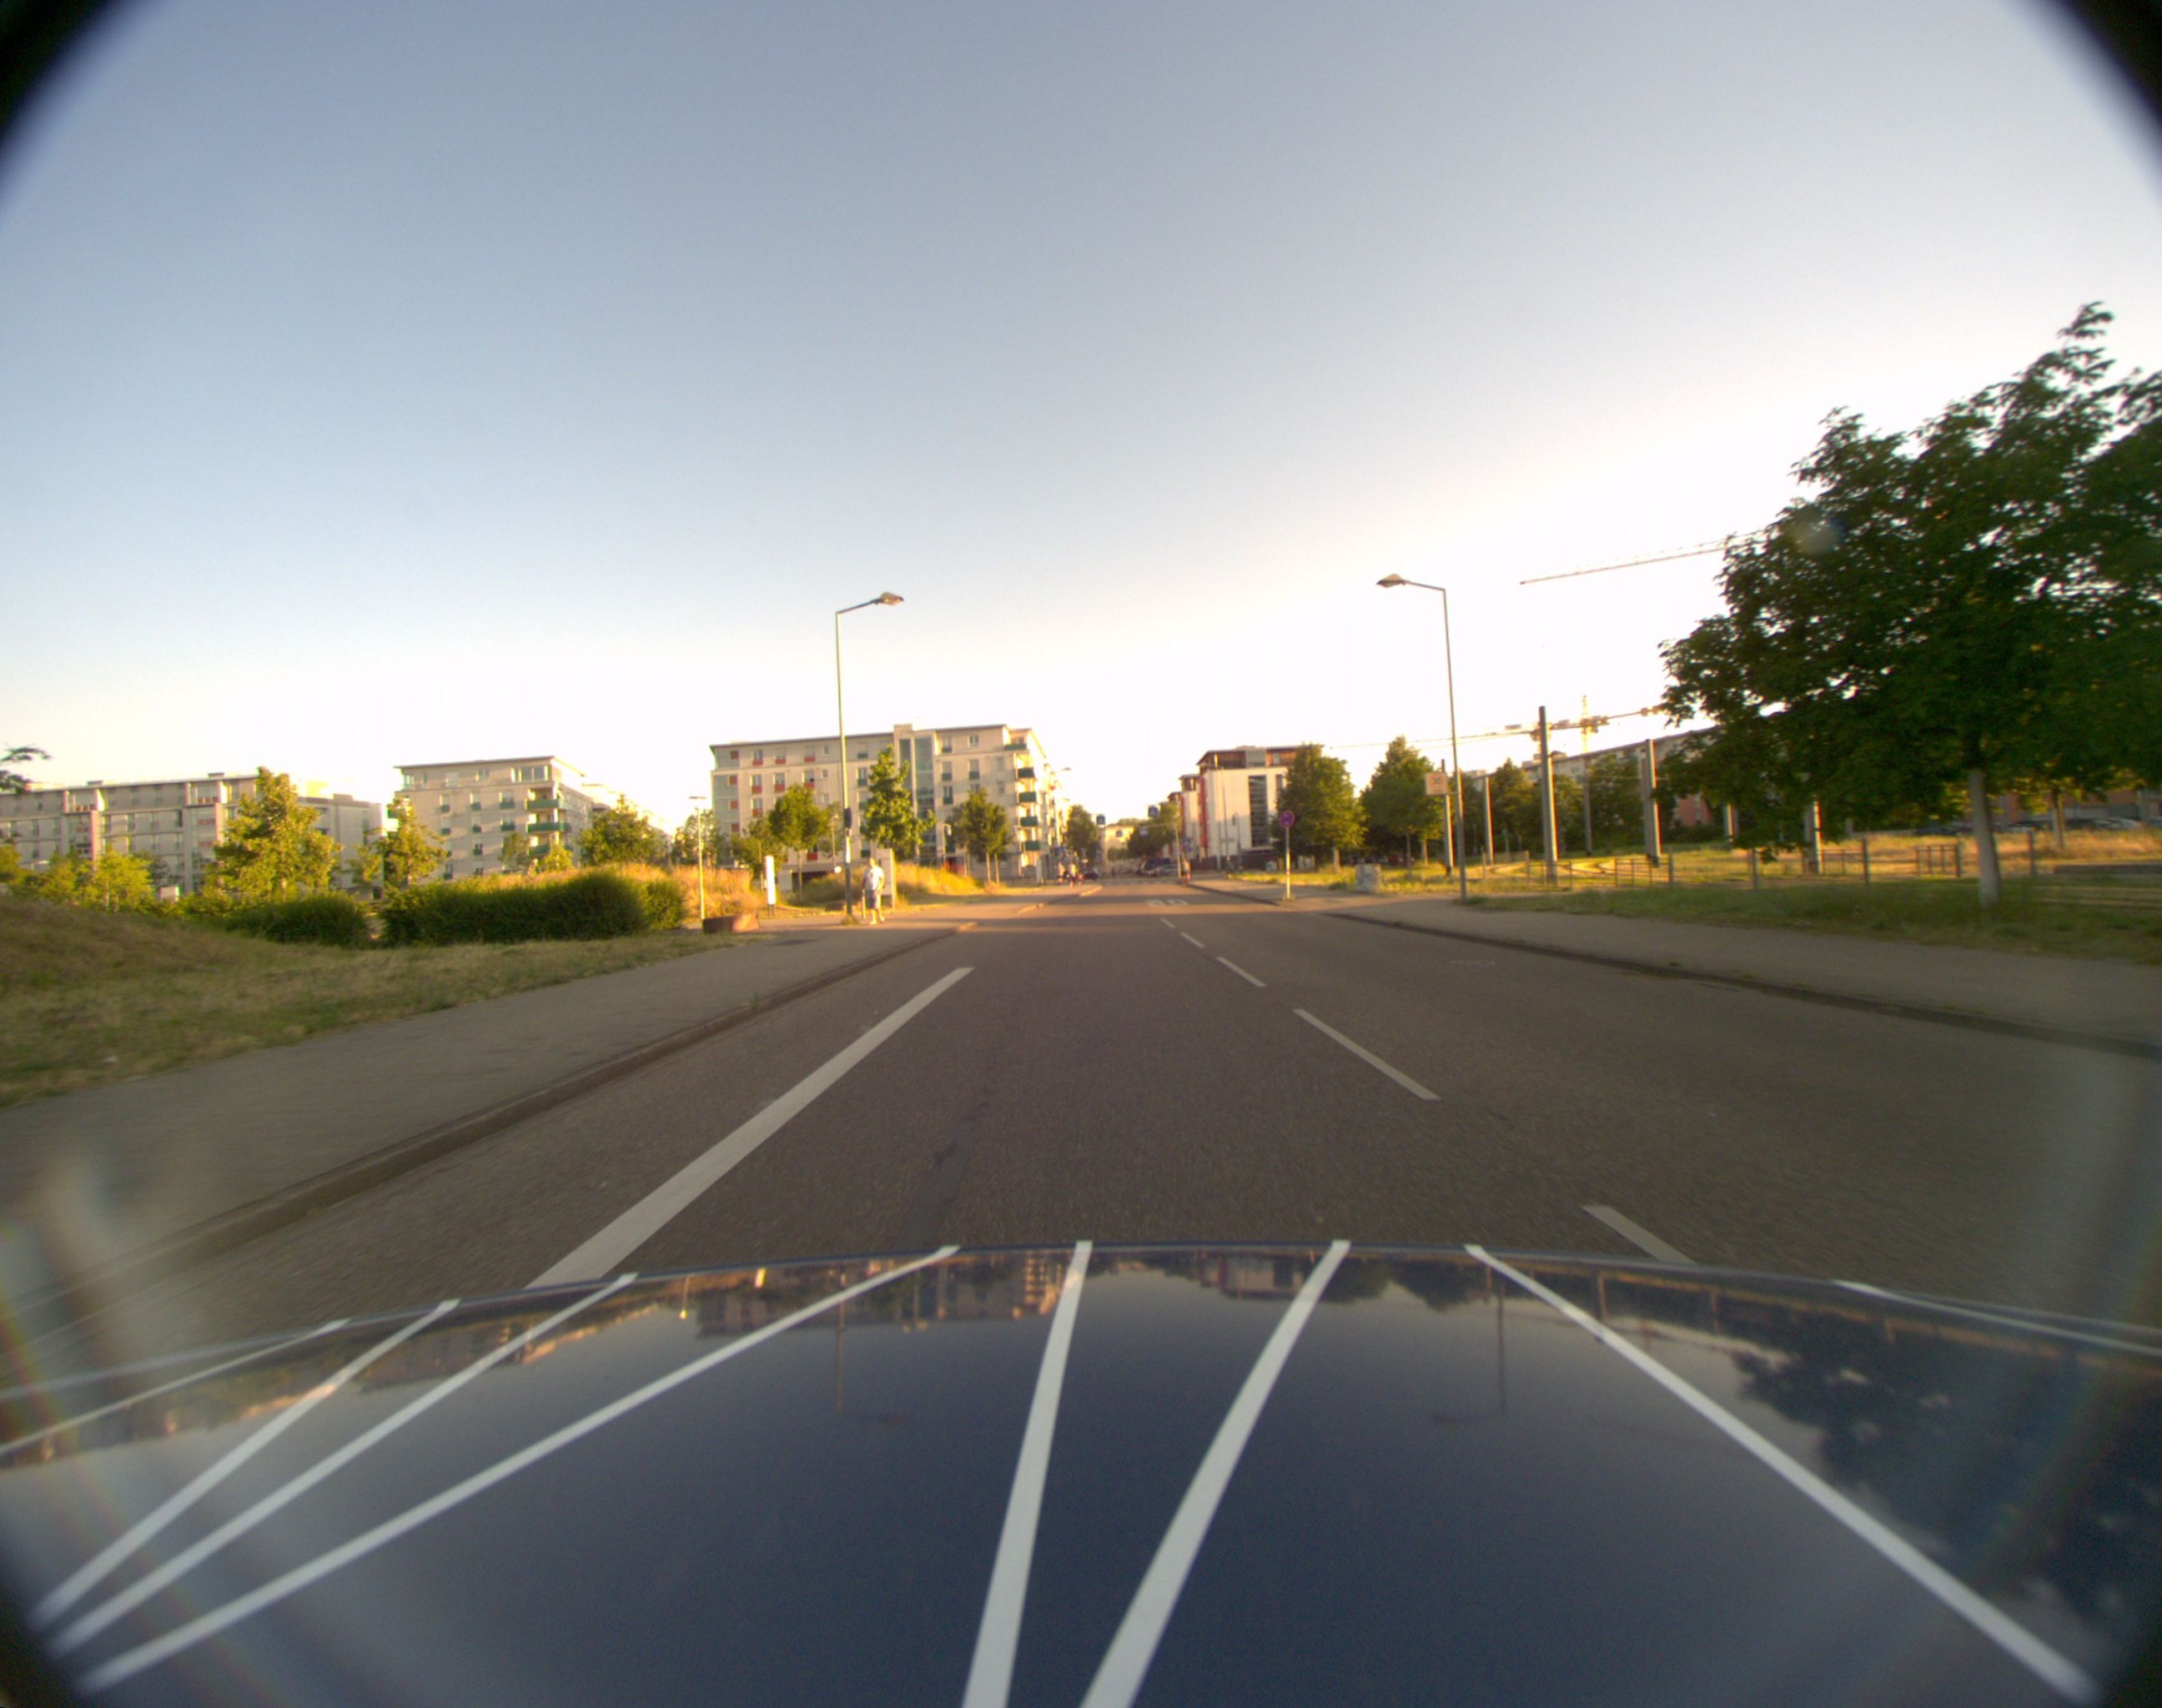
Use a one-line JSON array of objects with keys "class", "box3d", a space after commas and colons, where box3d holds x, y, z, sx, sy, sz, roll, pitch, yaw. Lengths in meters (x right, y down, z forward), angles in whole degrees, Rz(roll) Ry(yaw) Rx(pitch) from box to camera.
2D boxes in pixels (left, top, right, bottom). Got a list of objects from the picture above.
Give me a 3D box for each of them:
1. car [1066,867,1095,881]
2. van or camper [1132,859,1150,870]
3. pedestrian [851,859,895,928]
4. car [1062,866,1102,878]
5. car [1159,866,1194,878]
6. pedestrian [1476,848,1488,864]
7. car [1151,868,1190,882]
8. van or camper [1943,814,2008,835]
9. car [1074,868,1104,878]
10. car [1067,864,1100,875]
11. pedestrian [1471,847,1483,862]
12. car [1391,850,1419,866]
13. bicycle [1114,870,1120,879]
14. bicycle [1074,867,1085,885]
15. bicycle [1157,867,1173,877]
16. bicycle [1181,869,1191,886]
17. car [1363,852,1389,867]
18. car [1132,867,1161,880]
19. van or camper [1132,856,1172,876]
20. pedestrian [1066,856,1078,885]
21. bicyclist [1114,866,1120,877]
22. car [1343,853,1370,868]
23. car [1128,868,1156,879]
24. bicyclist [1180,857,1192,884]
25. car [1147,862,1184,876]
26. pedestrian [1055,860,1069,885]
[{"class": "car", "box3d": [-0.043, 2.160, 80.933, 1.774, 1.453, 4.186, -1, -1, 20]}, {"class": "van or camper", "box3d": [14.182, 2.447, 179.438, 4.250, 2.519, 1.761, 0, -1, 3]}, {"class": "pedestrian", "box3d": [-5.408, 1.013, 19.778, 0.833, 1.756, 0.818, 0, 0, 8]}, {"class": "car", "box3d": [0.125, 2.270, 96.913, 4.885, 1.449, 1.939, 0, -1, 4]}, {"class": "car", "box3d": [12.122, 2.296, 96.561, 4.291, 1.449, 1.681, -1, -1, 0]}, {"class": "pedestrian", "box3d": [42.724, 0.218, 80.990, 0.743, 1.657, 0.624, -4, 0, -12]}, {"class": "car", "box3d": [11.718, 2.758, 99.560, 4.915, 1.469, 1.711, -5, -1, 0]}, {"class": "van or camper", "box3d": [87.022, -2.866, 73.971, 1.833, 1.684, 3.882, -3, -2, 4]}, {"class": "car", "box3d": [1.083, 2.726, 109.709, 4.294, 1.498, 1.686, 0, -1, -1]}, {"class": "car", "box3d": [0.322, 2.058, 101.052, 4.293, 1.485, 1.743, 0, -1, 1]}, {"class": "pedestrian", "box3d": [42.576, 0.055, 81.690, 0.713, 1.590, 0.656, -4, 0, -11]}, {"class": "car", "box3d": [33.660, 0.422, 79.065, 1.593, 1.491, 3.412, -3, 0, 4]}, {"class": "bicycle", "box3d": [5.334, 3.001, 112.027, 0.771, 1.259, 1.782, -3, -2, 1]}, {"class": "bicycle", "box3d": [-0.089, 1.415, 48.910, 0.451, 1.161, 1.942, -3, -2, 7]}, {"class": "bicycle", "box3d": [10.428, 2.281, 93.837, 1.821, 1.060, 0.567, -6, -1, 0]}, {"class": "bicycle", "box3d": [6.712, 1.506, 48.525, 0.539, 1.036, 1.926, -3, -2, 6]}, {"class": "car", "box3d": [30.891, 0.566, 79.590, 1.593, 1.491, 3.412, -3, 0, 4]}, {"class": "car", "box3d": [9.623, 2.864, 111.914, 3.919, 1.700, 1.724, -3, -1, -2]}, {"class": "van or camper", "box3d": [11.889, 2.002, 127.451, 6.314, 3.068, 2.442, -3, -1, -2]}, {"class": "pedestrian", "box3d": [-0.583, 1.061, 49.137, 0.595, 1.791, 0.818, -3, -1, 8]}, {"class": "bicyclist", "box3d": [5.306, 2.558, 112.035, 0.767, 1.617, 0.663, -3, -1, 1]}, {"class": "car", "box3d": [28.960, 0.688, 79.888, 1.689, 1.513, 3.412, -3, 0, 4]}, {"class": "car", "box3d": [9.148, 2.909, 114.083, 3.919, 1.506, 1.724, -3, -1, -2]}, {"class": "bicyclist", "box3d": [6.691, 1.067, 48.559, 0.616, 1.652, 1.037, -3, -1, 6]}, {"class": "car", "box3d": [11.645, 2.112, 104.847, 4.759, 1.575, 1.759, -5, -1, -2]}, {"class": "pedestrian", "box3d": [-1.321, 1.291, 53.742, 0.801, 1.719, 0.768, -3, -1, 10]}]
